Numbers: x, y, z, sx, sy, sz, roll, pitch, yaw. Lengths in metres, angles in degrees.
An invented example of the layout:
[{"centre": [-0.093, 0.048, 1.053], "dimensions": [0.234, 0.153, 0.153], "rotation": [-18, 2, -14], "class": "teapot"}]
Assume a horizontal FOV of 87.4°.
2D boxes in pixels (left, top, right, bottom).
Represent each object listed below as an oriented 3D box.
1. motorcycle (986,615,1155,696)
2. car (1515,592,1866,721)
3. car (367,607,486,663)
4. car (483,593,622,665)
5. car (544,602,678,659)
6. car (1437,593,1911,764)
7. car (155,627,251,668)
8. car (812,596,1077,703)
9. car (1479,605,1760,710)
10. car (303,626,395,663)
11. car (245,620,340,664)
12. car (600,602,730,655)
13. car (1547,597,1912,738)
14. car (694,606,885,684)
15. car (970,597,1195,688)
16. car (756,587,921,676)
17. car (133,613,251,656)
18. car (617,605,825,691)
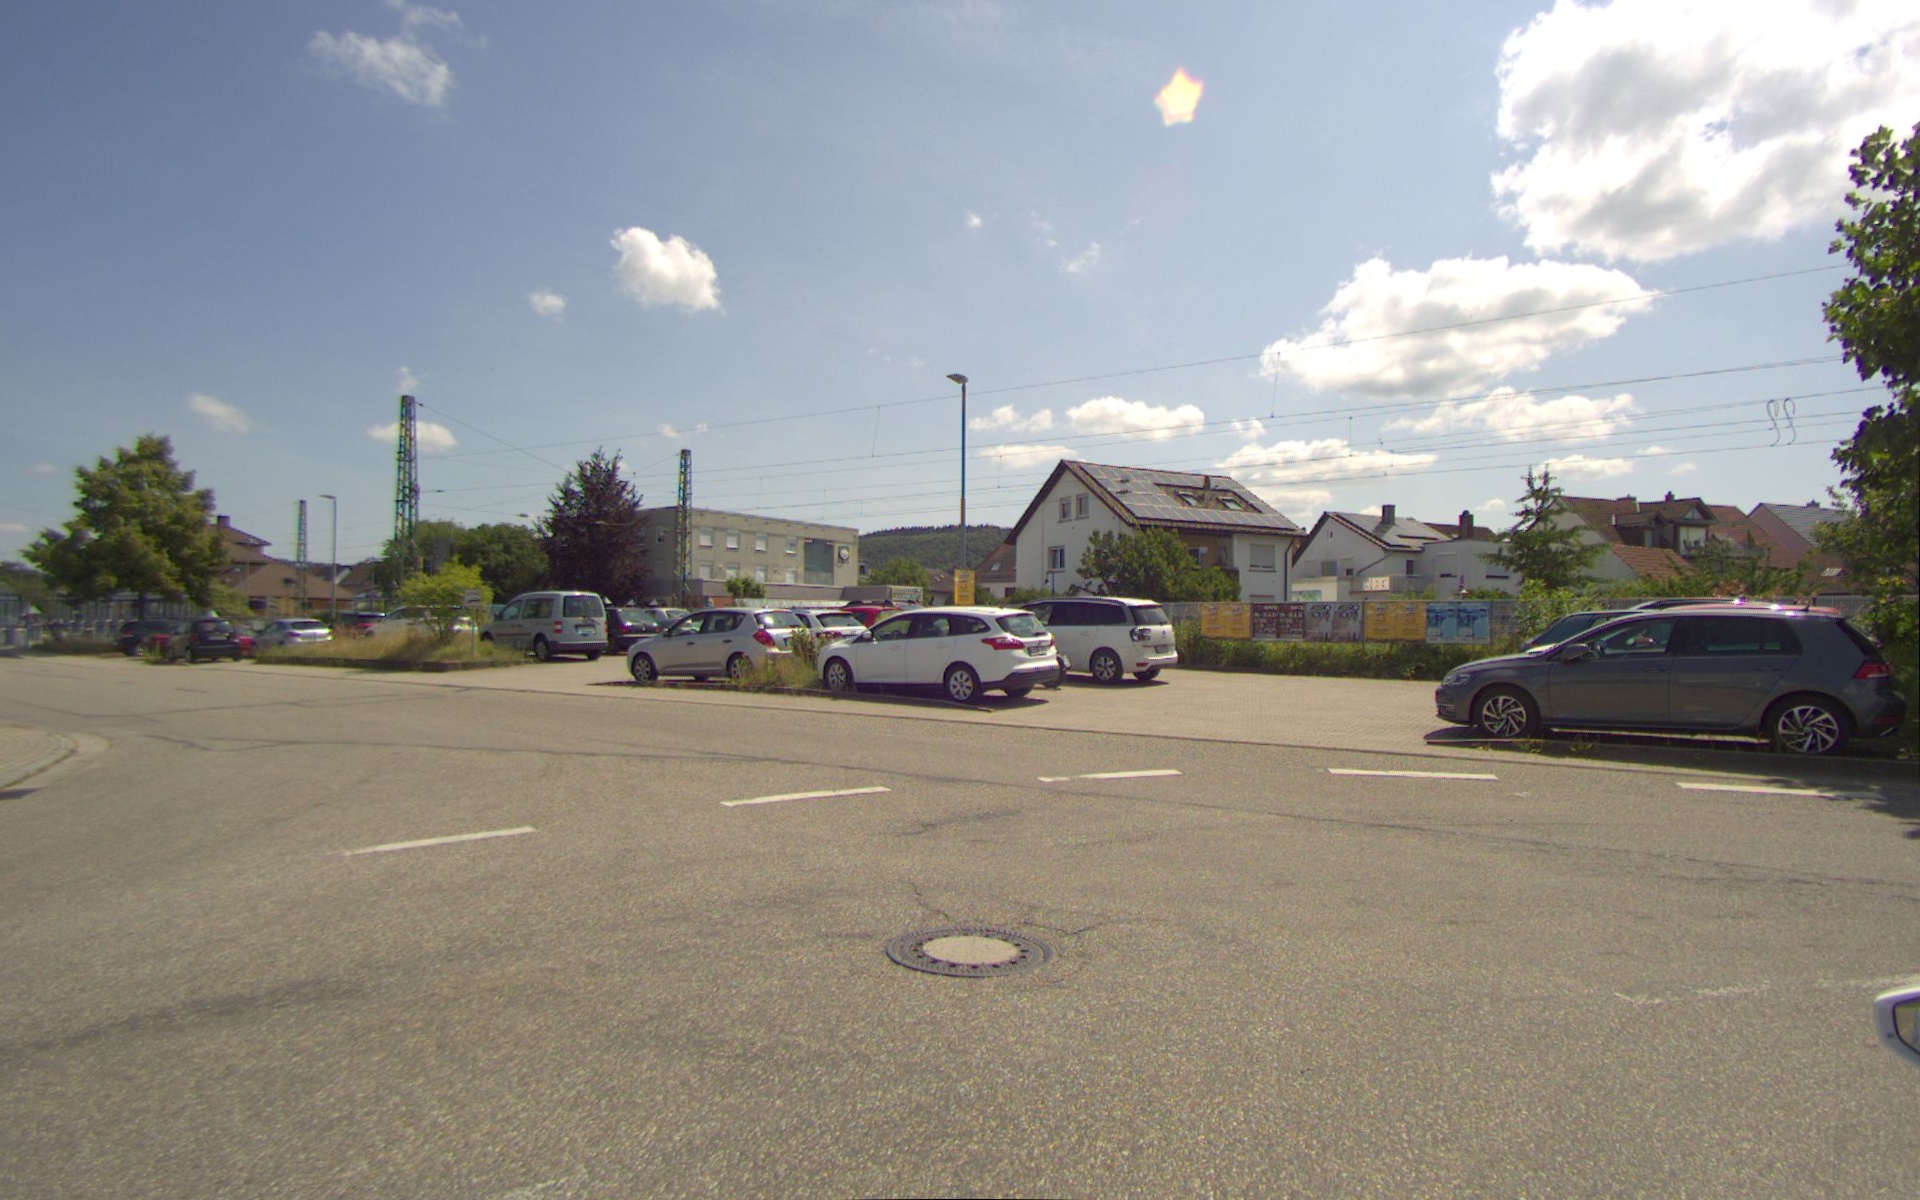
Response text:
[{"centre": [1.976, 0.975, 18.405], "dimensions": [3.162, 1.391, 0.737], "rotation": [-1, -2, 37], "class": "motorcycle"}, {"centre": [10.768, 0.773, 15.042], "dimensions": [4.024, 1.659, 1.991], "rotation": [-1, -2, 39], "class": "car"}, {"centre": [-17.082, 1.093, 32.116], "dimensions": [3.933, 1.708, 1.728], "rotation": [0, -2, 34], "class": "car"}, {"centre": [-11.367, 0.796, 27.951], "dimensions": [3.775, 1.857, 1.947], "rotation": [-1, -2, 38], "class": "car"}, {"centre": [-10.727, 0.922, 30.781], "dimensions": [4.205, 1.630, 1.947], "rotation": [-1, -2, 38], "class": "car"}, {"centre": [7.596, 0.748, 11.035], "dimensions": [4.000, 1.551, 1.683], "rotation": [-1, -2, 39], "class": "car"}, {"centre": [-27.248, 1.669, 36.129], "dimensions": [3.933, 1.367, 1.604], "rotation": [0, -1, 34], "class": "car"}, {"centre": [-0.317, 0.770, 16.801], "dimensions": [4.192, 1.585, 1.803], "rotation": [-1, -2, 35], "class": "car"}, {"centre": [11.700, 0.955, 17.948], "dimensions": [4.023, 1.659, 1.992], "rotation": [-1, -2, 39], "class": "car"}, {"centre": [-23.909, 1.708, 39.282], "dimensions": [3.933, 1.366, 1.618], "rotation": [0, -1, 34], "class": "car"}, {"centre": [-25.207, 1.556, 37.893], "dimensions": [3.933, 1.542, 1.604], "rotation": [0, -1, 34], "class": "car"}, {"centre": [-9.598, 0.905, 32.564], "dimensions": [4.205, 1.630, 1.947], "rotation": [-1, -2, 38], "class": "car"}, {"centre": [9.707, 0.786, 12.917], "dimensions": [3.524, 1.557, 1.789], "rotation": [-1, -2, 39], "class": "car"}, {"centre": [-3.852, 0.955, 22.402], "dimensions": [4.194, 1.585, 1.800], "rotation": [-1, -2, 37], "class": "car"}, {"centre": [2.458, 0.831, 20.594], "dimensions": [4.197, 1.679, 1.991], "rotation": [-1, -2, 39], "class": "car"}, {"centre": [-3.064, 0.755, 24.995], "dimensions": [3.938, 2.040, 1.844], "rotation": [-1, -2, 38], "class": "car"}, {"centre": [-31.379, 1.415, 41.124], "dimensions": [1.619, 1.613, 3.435], "rotation": [2, -1, 27], "class": "car"}, {"centre": [-4.799, 0.899, 20.049], "dimensions": [3.890, 1.564, 1.793], "rotation": [0, -2, 31], "class": "car"}]
